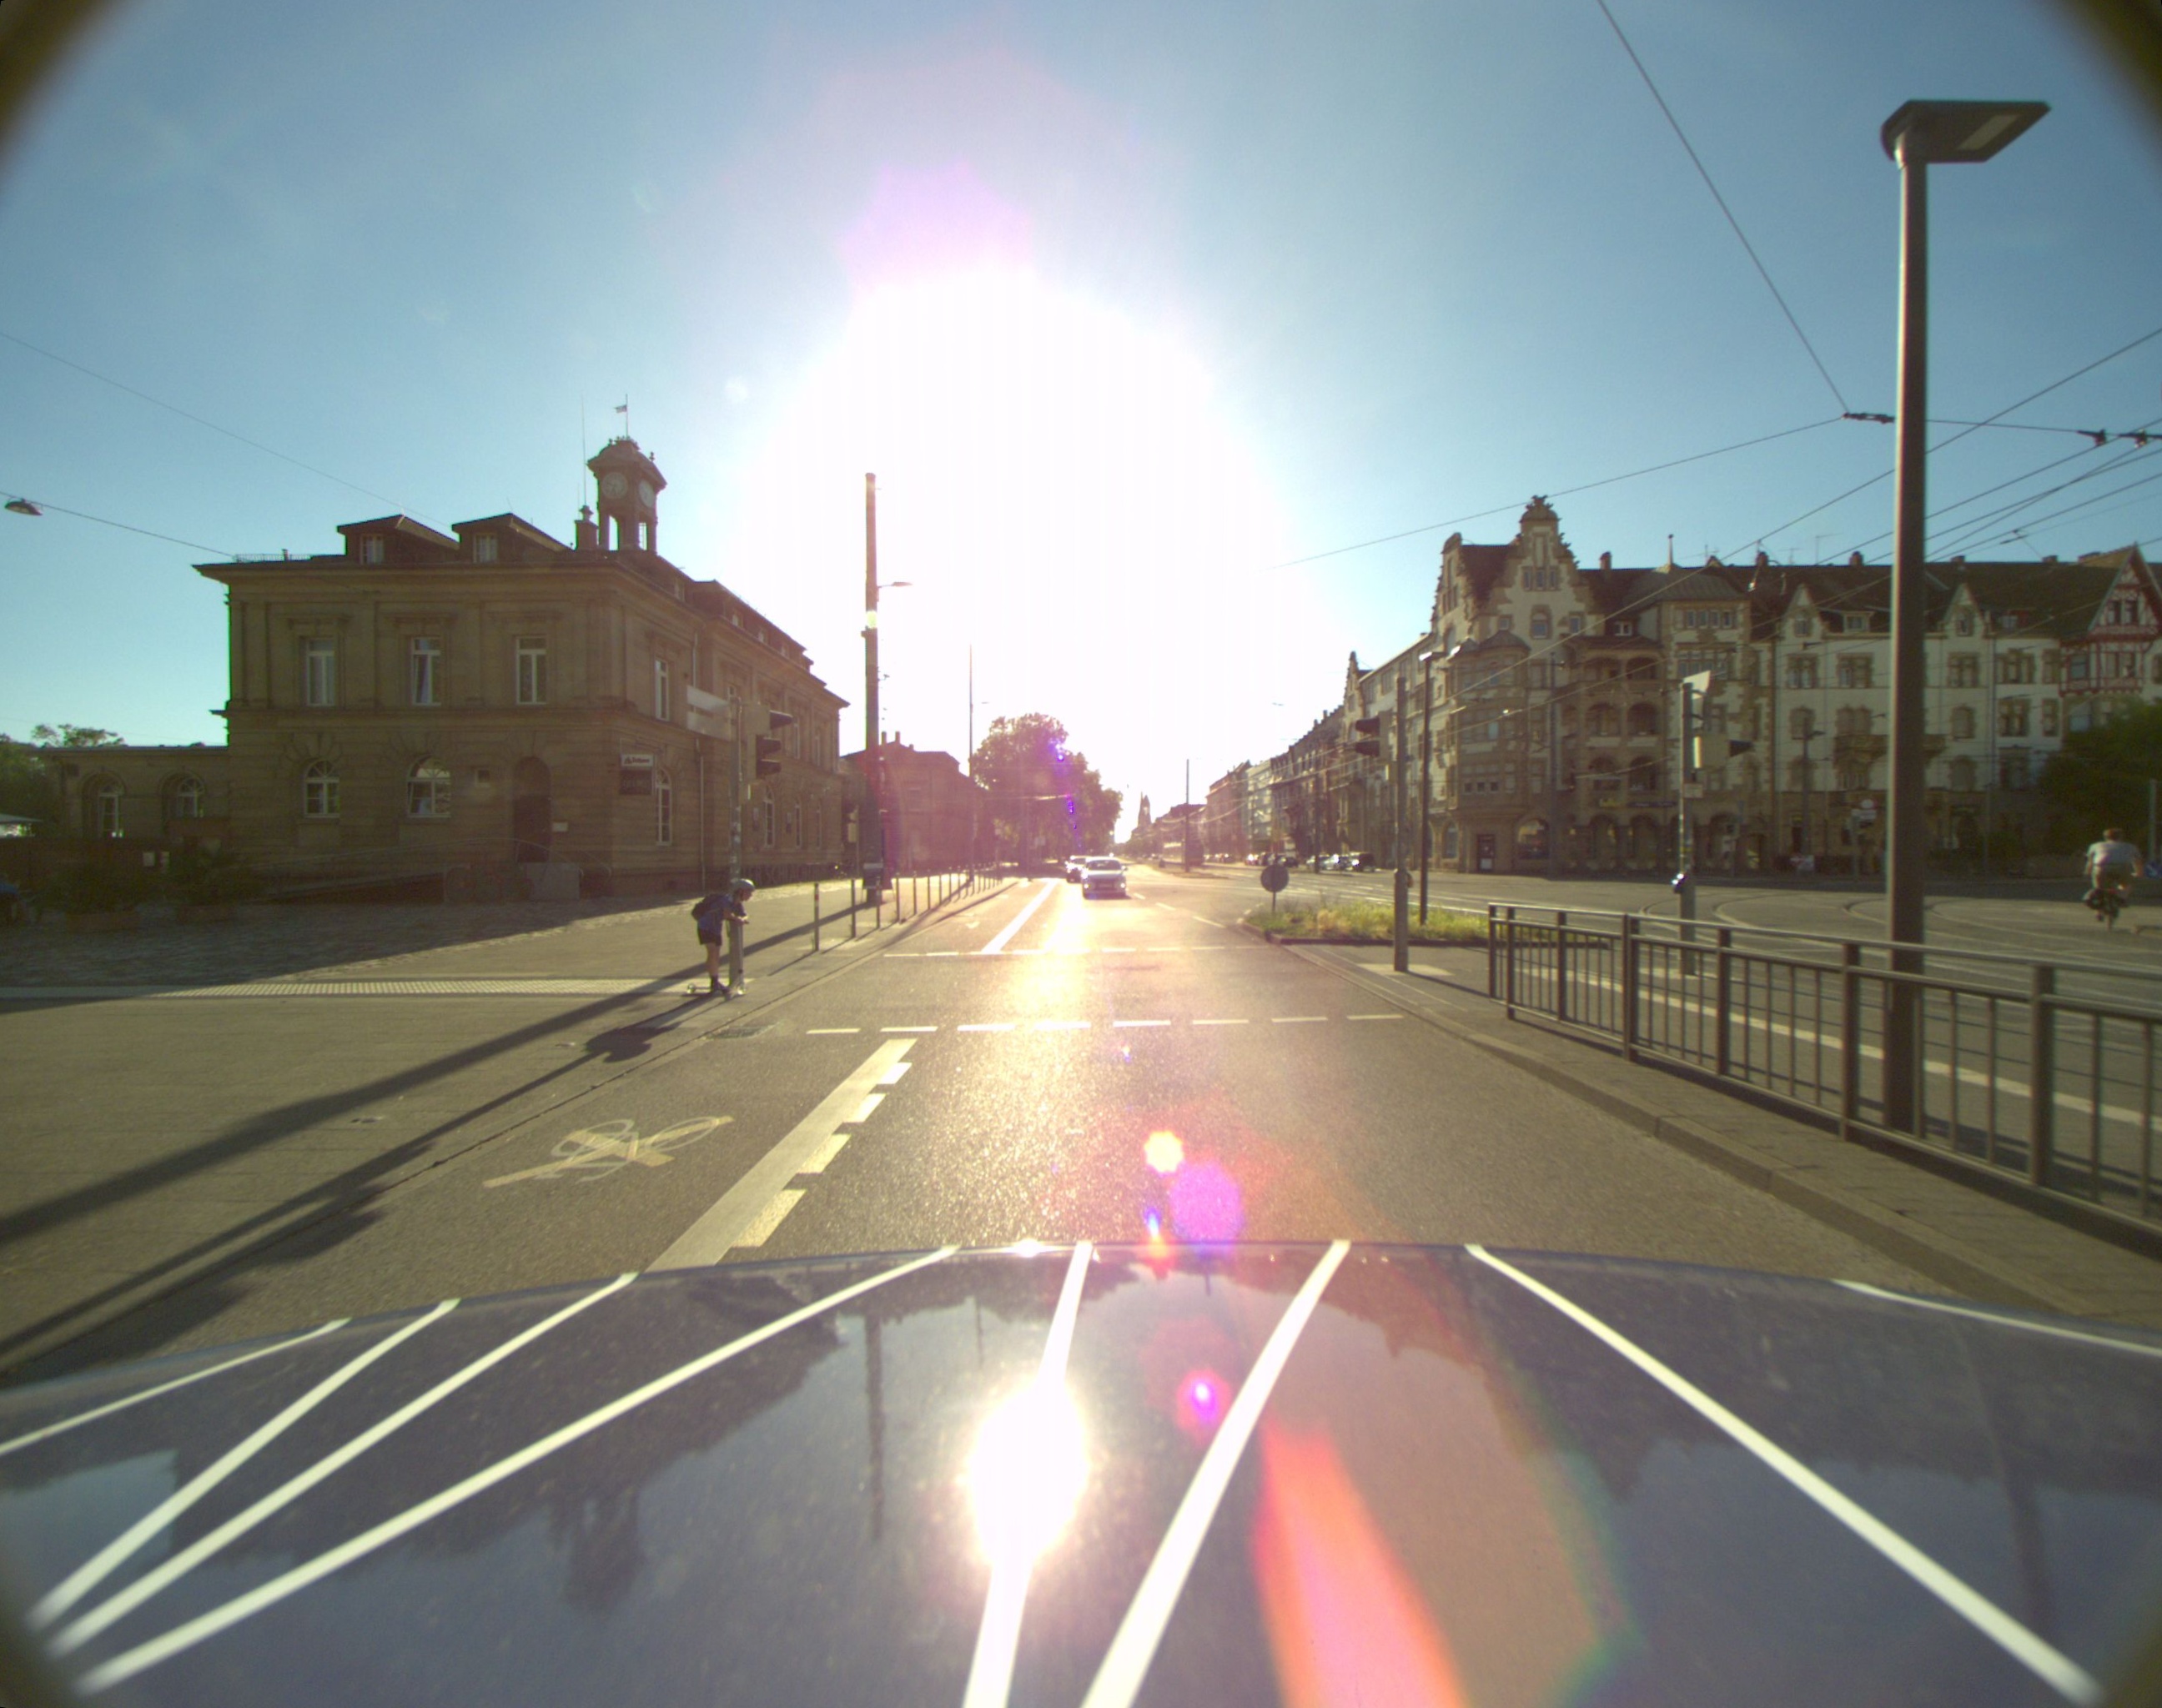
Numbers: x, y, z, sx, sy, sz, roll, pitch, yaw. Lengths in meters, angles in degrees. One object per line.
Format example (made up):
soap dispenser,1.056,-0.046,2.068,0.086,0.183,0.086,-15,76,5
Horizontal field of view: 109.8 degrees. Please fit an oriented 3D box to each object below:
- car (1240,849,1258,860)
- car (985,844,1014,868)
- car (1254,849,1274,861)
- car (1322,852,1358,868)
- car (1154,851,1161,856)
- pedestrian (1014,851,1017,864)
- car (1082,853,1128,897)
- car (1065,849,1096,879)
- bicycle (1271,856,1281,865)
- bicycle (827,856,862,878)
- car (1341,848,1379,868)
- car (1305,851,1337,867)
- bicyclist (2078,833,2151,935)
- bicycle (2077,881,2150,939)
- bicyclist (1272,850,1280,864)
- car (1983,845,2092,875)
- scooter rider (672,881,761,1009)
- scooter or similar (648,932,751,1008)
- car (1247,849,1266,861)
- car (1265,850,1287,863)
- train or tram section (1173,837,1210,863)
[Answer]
car,24.283,0.018,109.760,1.741,1.516,4.000,-2,0,1
car,-7.276,0.114,68.262,1.833,2.035,4.001,-1,1,5
car,23.962,0.168,99.768,1.741,1.516,4.000,-2,0,1
car,24.169,0.524,71.103,1.727,1.467,4.432,0,0,-1
car,23.277,-0.178,231.485,1.780,1.660,3.999,0,0,0
pedestrian,-8.285,0.479,96.204,0.364,1.635,0.390,0,1,2
car,0.910,0.767,29.686,1.649,1.555,3.666,-1,1,1
car,0.019,0.532,42.656,1.649,1.555,3.666,-1,1,1
bicycle,21.705,0.708,84.527,0.607,0.996,2.068,0,0,-1
bicycle,-12.757,0.690,41.049,1.650,1.174,0.690,1,1,-1
car,24.124,0.320,65.798,1.780,1.660,3.999,0,0,0
car,24.128,0.500,76.506,1.741,1.516,3.998,-2,0,-4
bicyclist,18.682,0.526,13.750,0.645,1.797,0.669,0,1,43
bicycle,18.831,0.997,13.888,1.893,0.906,0.512,-1,2,-44
bicyclist,21.695,0.348,84.580,0.683,1.609,0.630,0,1,0
car,53.015,0.324,42.151,3.997,1.565,1.727,0,0,-2
scooter rider,-4.132,1.013,8.649,0.703,1.389,0.600,0,1,2
scooter or similar,-4.300,1.303,8.570,1.023,0.807,0.265,0,1,1
car,24.211,0.087,105.060,1.741,1.516,4.000,-2,0,1
car,23.990,0.256,93.610,1.741,1.516,4.000,-2,0,1
train or tram section,15.746,-0.525,109.833,2.781,3.378,19.475,-1,0,1
